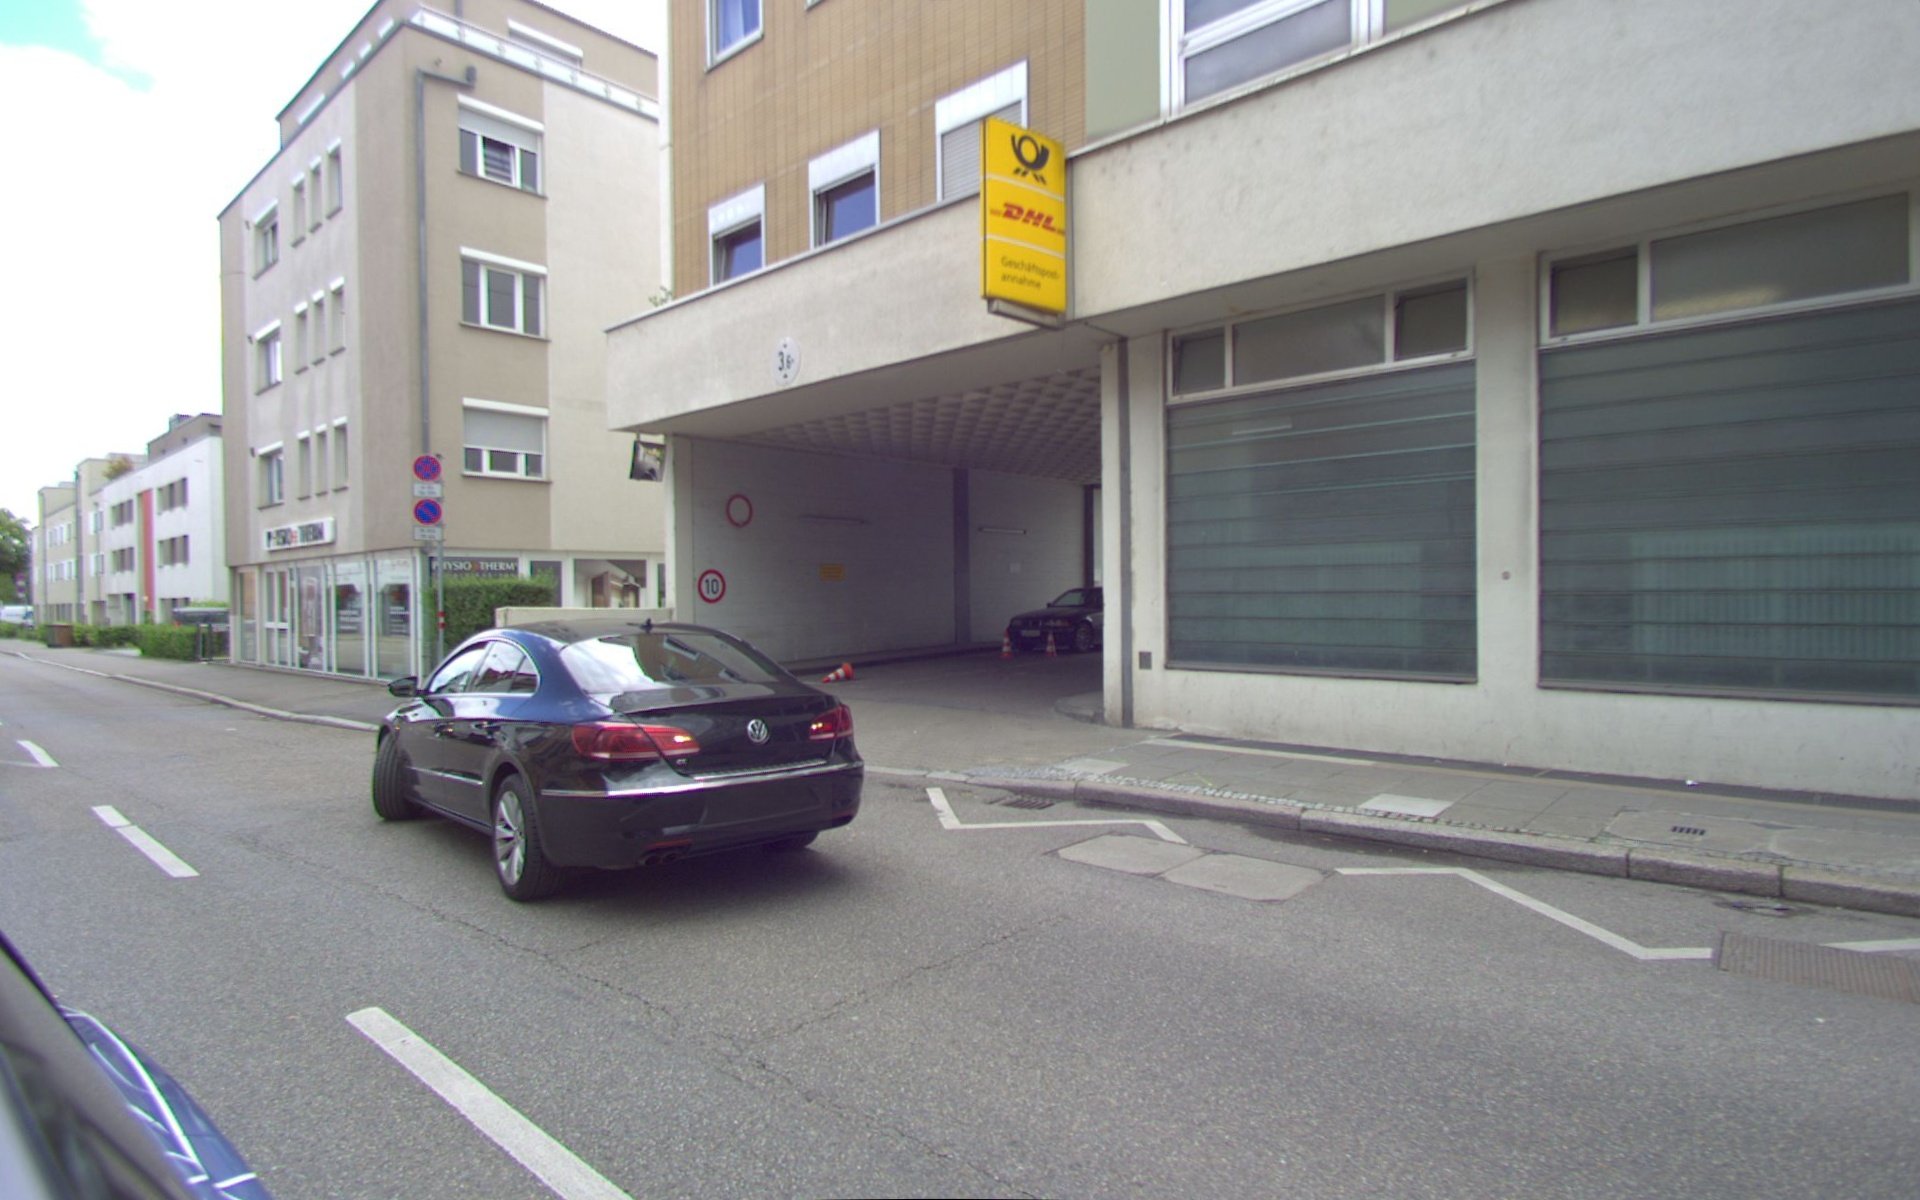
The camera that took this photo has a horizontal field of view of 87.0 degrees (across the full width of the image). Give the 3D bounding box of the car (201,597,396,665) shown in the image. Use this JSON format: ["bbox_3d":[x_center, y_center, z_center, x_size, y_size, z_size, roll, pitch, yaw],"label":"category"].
[{"bbox_3d":[-21.413,0.949,32.910,1.967,2.013,5.014,-1,0,44],"label":"car"}]

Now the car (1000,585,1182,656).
[{"bbox_3d":[2.887,0.380,21.487,1.624,1.333,4.392,-1,0,42],"label":"car"}]

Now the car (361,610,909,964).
[{"bbox_3d":[-2.355,0.792,6.377,1.632,1.409,4.460,-1,0,-41],"label":"car"}]
